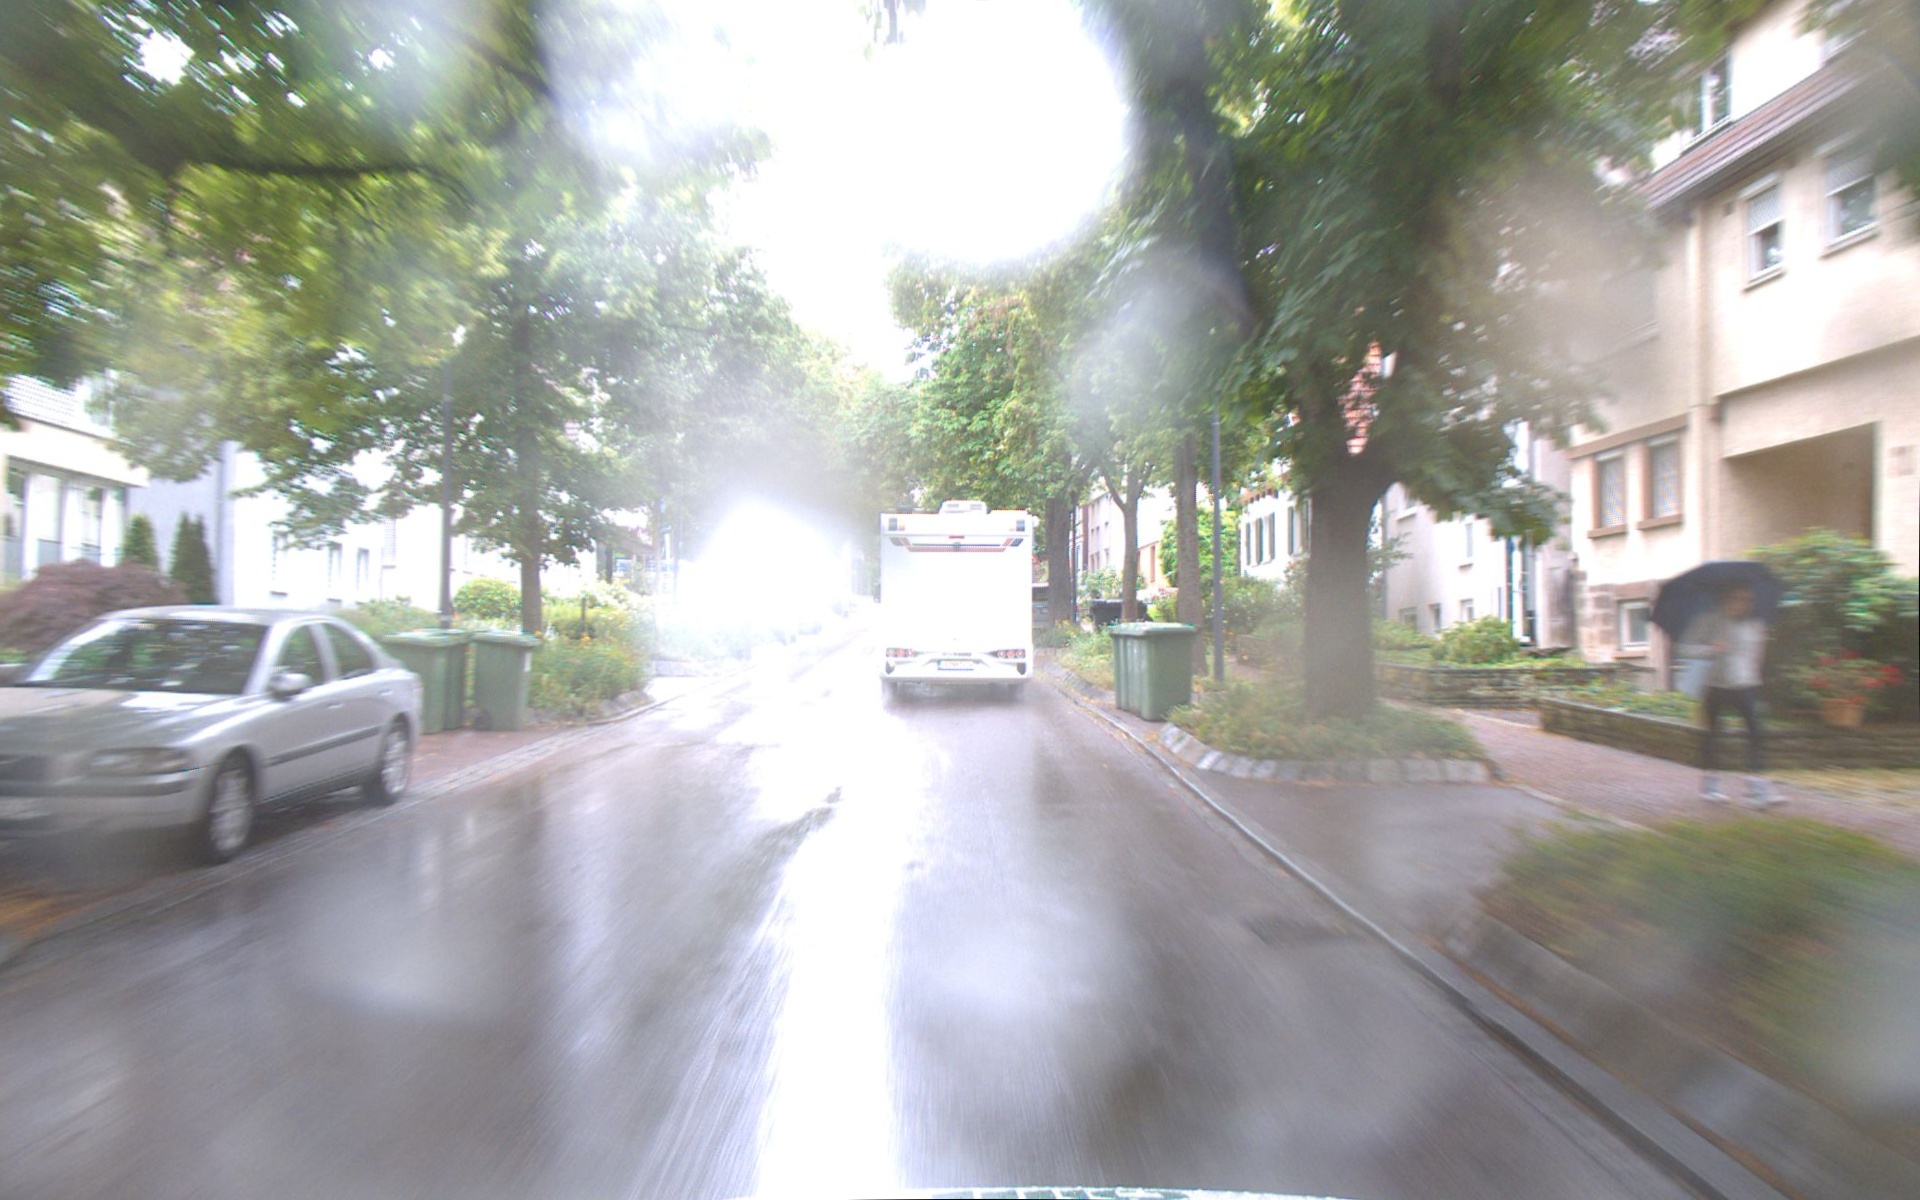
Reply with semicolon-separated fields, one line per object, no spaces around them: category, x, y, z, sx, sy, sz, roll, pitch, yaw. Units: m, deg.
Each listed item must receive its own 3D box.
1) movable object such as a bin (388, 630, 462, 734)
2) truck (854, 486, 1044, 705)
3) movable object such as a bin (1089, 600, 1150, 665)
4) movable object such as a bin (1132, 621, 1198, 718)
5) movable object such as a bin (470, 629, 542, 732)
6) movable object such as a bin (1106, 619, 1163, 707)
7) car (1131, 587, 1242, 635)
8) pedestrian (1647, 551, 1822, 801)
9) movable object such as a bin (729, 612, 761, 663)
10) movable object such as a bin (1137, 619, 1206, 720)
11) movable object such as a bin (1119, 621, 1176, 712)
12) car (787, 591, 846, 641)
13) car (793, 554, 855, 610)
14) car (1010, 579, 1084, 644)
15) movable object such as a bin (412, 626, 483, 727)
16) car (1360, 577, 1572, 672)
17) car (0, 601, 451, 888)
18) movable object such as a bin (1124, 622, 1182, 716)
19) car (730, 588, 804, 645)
movable object such as a bin;-5.759;0.872;17.812;0.582;1.081;0.545;1;0;3
truck;-0.187;-0.056;26.284;2.640;3.038;6.235;0;0;-1
movable object such as a bin;3.380;0.675;35.084;1.199;1.338;1.134;-1;0;1
movable object such as a bin;2.375;0.802;19.193;0.674;1.101;0.540;0;0;-5
movable object such as a bin;-5.006;0.879;18.275;0.582;1.081;0.545;3;0;3
movable object such as a bin;2.215;0.797;21.068;0.631;1.101;0.540;0;0;-5
car;7.418;0.341;54.340;3.298;1.455;1.629;-2;0;-4
pedestrian;5.407;0.521;11.607;0.934;1.681;0.794;-1;-1;13
movable object such as a bin;-4.804;0.836;37.001;0.629;1.130;0.536;0;0;1
movable object such as a bin;2.373;0.775;18.616;0.674;1.101;0.540;0;0;-5
movable object such as a bin;2.326;0.822;20.522;0.618;1.101;0.471;0;0;-5
car;-4.980;0.524;57.855;1.735;1.580;3.999;2;1;-1
car;-6.383;-0.883;78.033;2.256;2.526;5.786;0;1;2
car;2.509;0.326;48.788;1.875;1.823;4.487;0;0;-1
movable object such as a bin;-5.703;0.844;18.424;0.582;1.081;0.545;1;0;3
car;12.086;0.580;39.693;4.372;1.933;1.999;4;-1;-2
car;-4.941;0.751;10.847;1.736;1.413;4.545;2;0;0
movable object such as a bin;2.310;0.823;19.796;0.597;1.101;0.512;0;0;-5
car;-5.631;0.448;48.579;1.613;1.560;3.866;1;0;1
